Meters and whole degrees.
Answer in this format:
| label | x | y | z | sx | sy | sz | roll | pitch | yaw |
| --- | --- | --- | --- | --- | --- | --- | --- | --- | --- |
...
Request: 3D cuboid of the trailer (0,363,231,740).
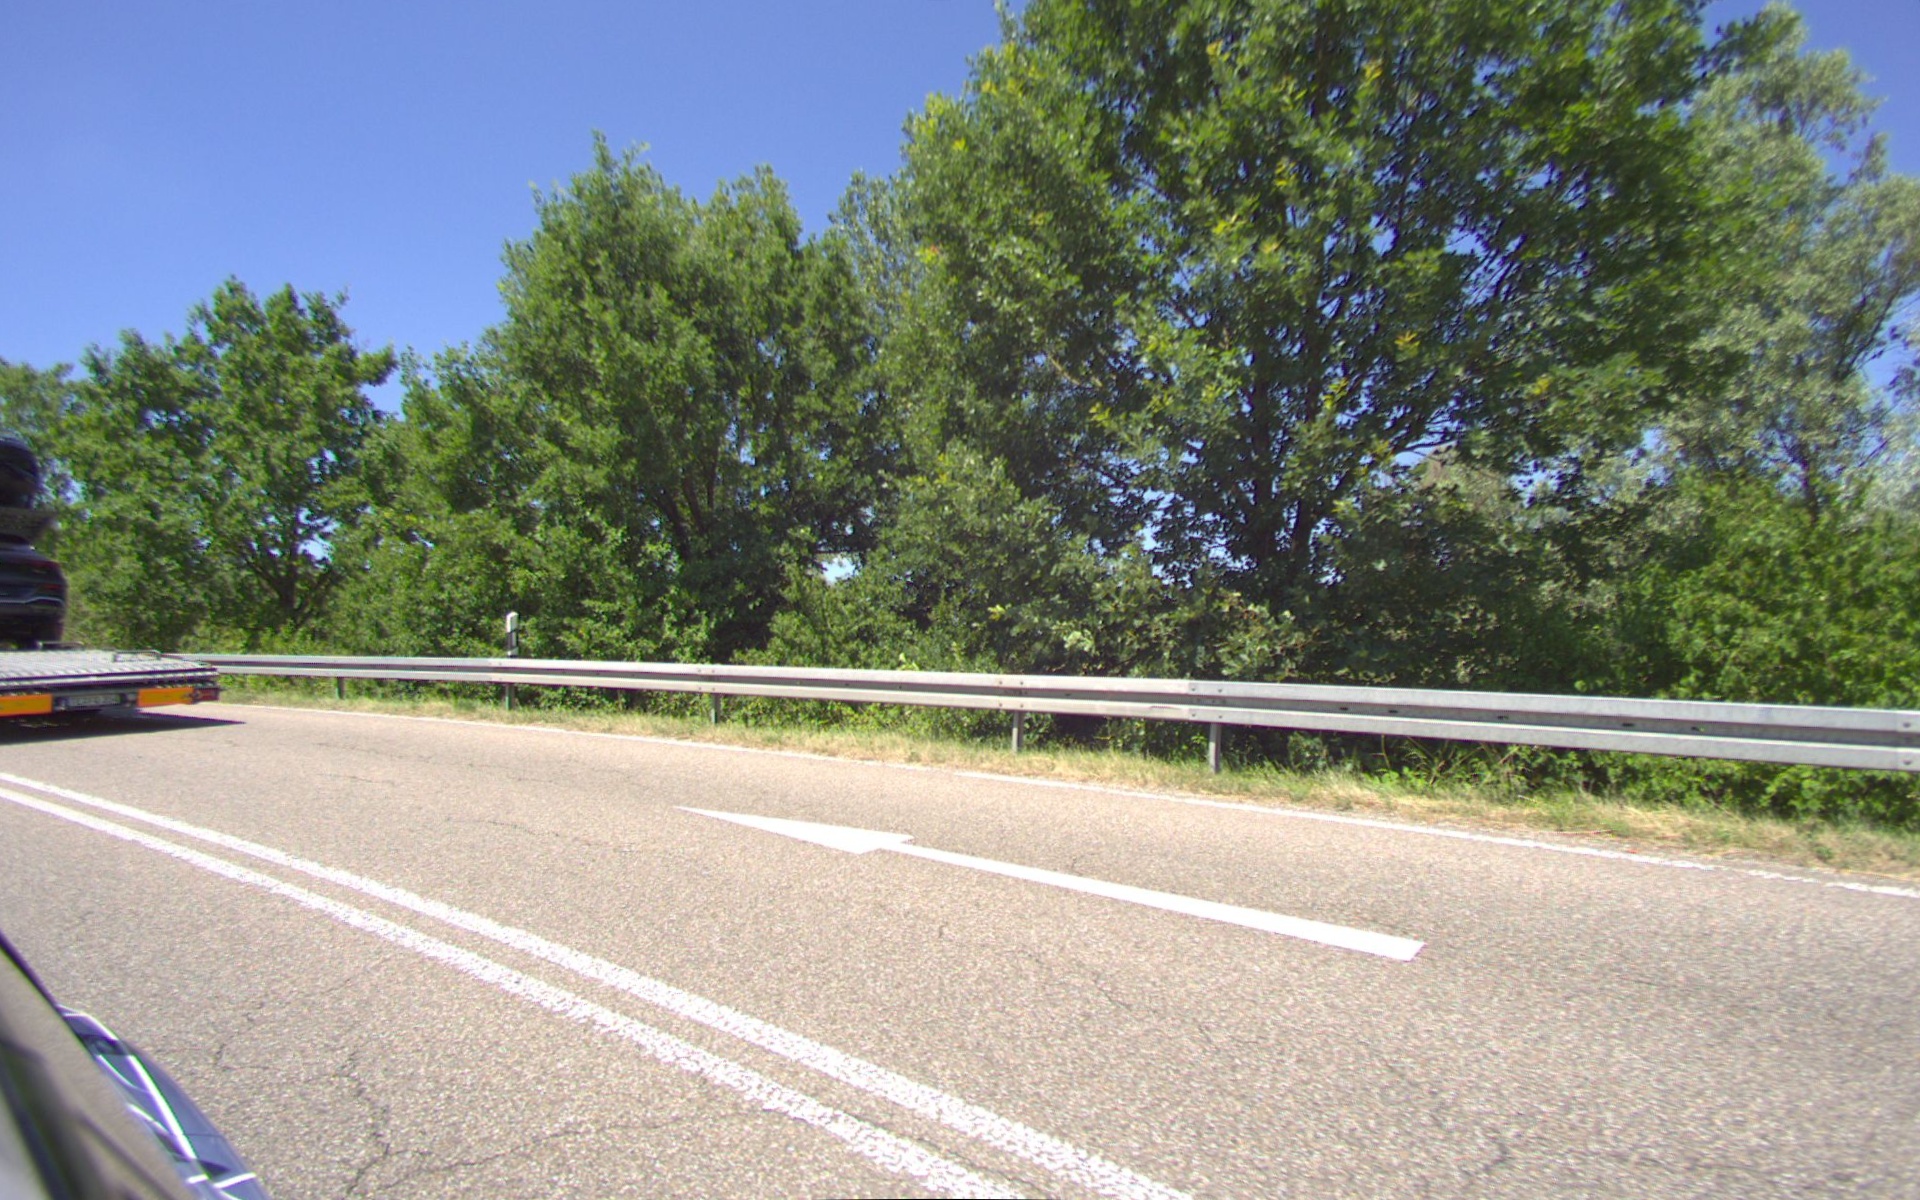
| label | x | y | z | sx | sy | sz | roll | pitch | yaw |
| --- | --- | --- | --- | --- | --- | --- | --- | --- | --- |
| trailer | -15.788 | -0.457 | 14.525 | 13.919 | 3.928 | 2.776 | 0 | -1 | 28 |
